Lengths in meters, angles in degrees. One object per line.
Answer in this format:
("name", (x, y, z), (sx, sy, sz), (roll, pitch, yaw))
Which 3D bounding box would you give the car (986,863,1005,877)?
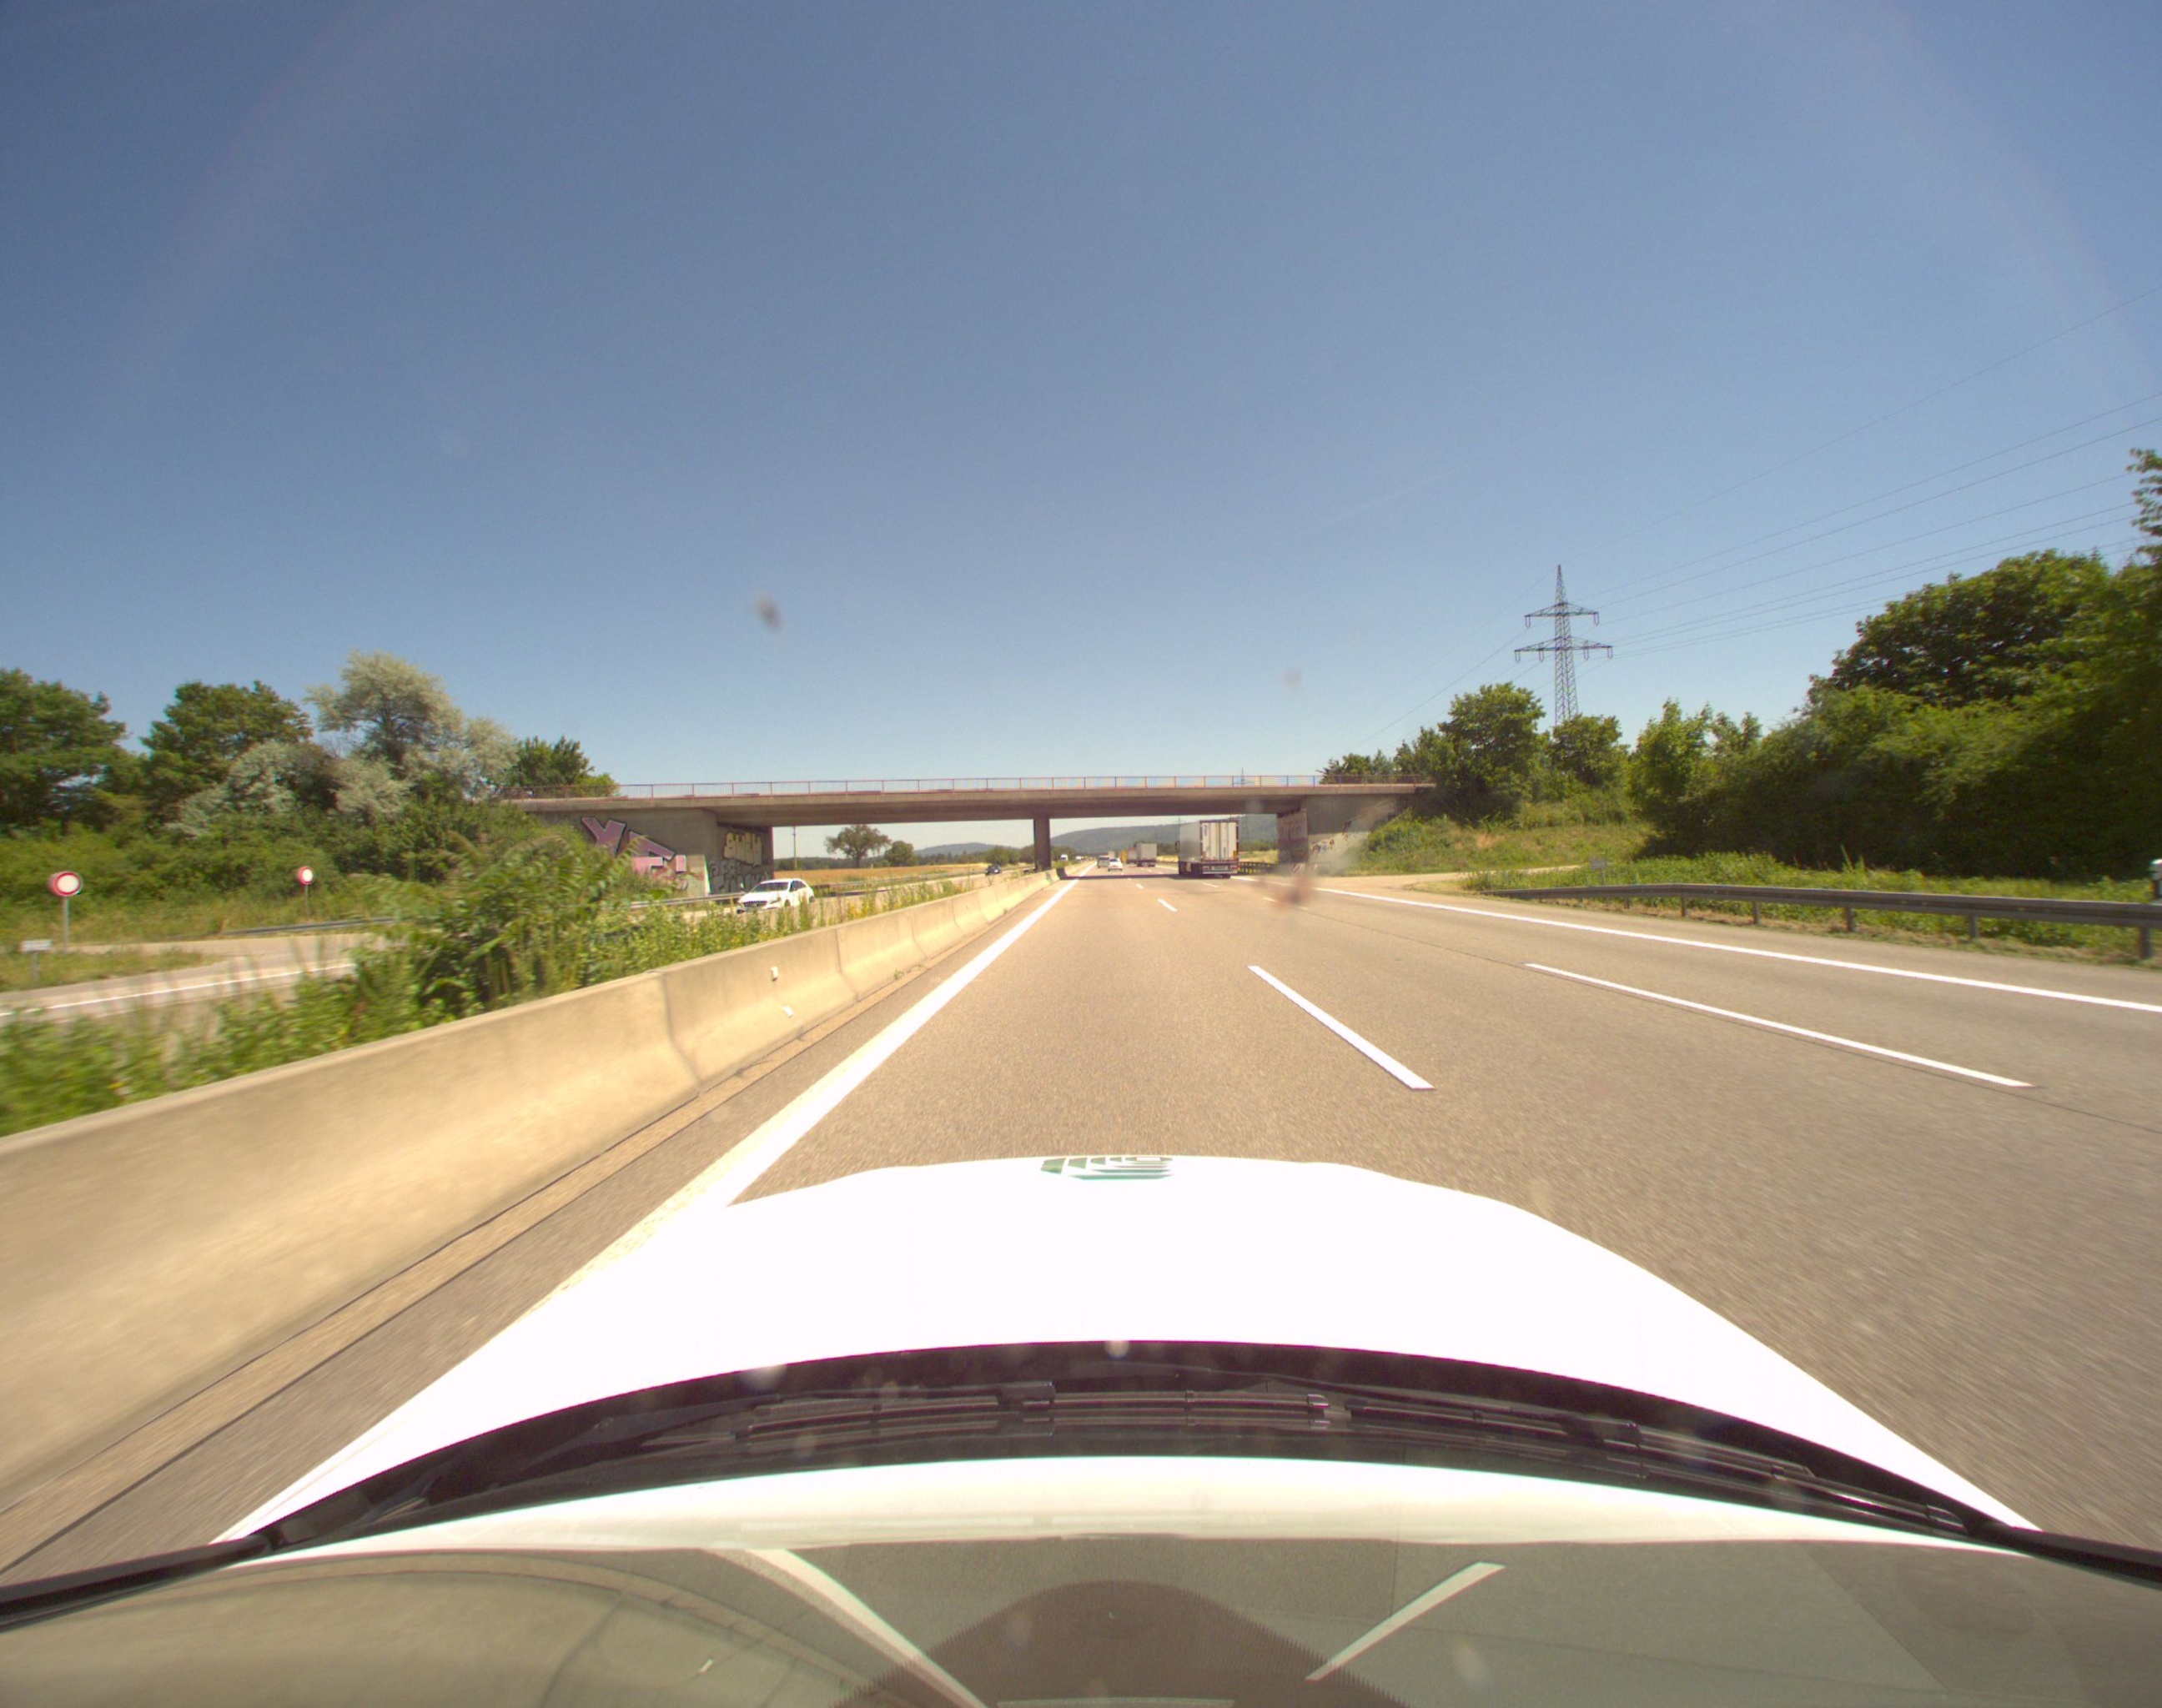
("car", (-10.472, 1.951, 99.493), (1.667, 1.519, 4.101), (-3, 0, 2))

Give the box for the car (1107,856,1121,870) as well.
("car", (3.983, 1.060, 97.372), (1.601, 1.467, 4.003), (-2, 0, 3))

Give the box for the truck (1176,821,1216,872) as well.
("truck", (9.762, -0.611, 69.713), (2.784, 4.164, 5.725), (-1, 0, 2))

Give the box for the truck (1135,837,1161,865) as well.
("truck", (11.302, -0.444, 138.883), (3.508, 4.416, 14.595), (-3, 0, 1))

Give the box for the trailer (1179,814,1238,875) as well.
("trailer", (9.519, -0.628, 62.504), (2.784, 4.164, 13.961), (-1, 0, 2))

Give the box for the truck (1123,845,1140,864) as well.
("truck", (12.730, 0.081, 205.207), (3.508, 4.416, 14.595), (-3, 0, 1))

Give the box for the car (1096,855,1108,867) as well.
("car", (3.406, 1.135, 128.943), (1.754, 1.850, 4.003), (-2, 0, 2))

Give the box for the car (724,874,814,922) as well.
("car", (-11.972, 1.652, 31.542), (1.799, 1.544, 3.878), (-4, 0, 2))
